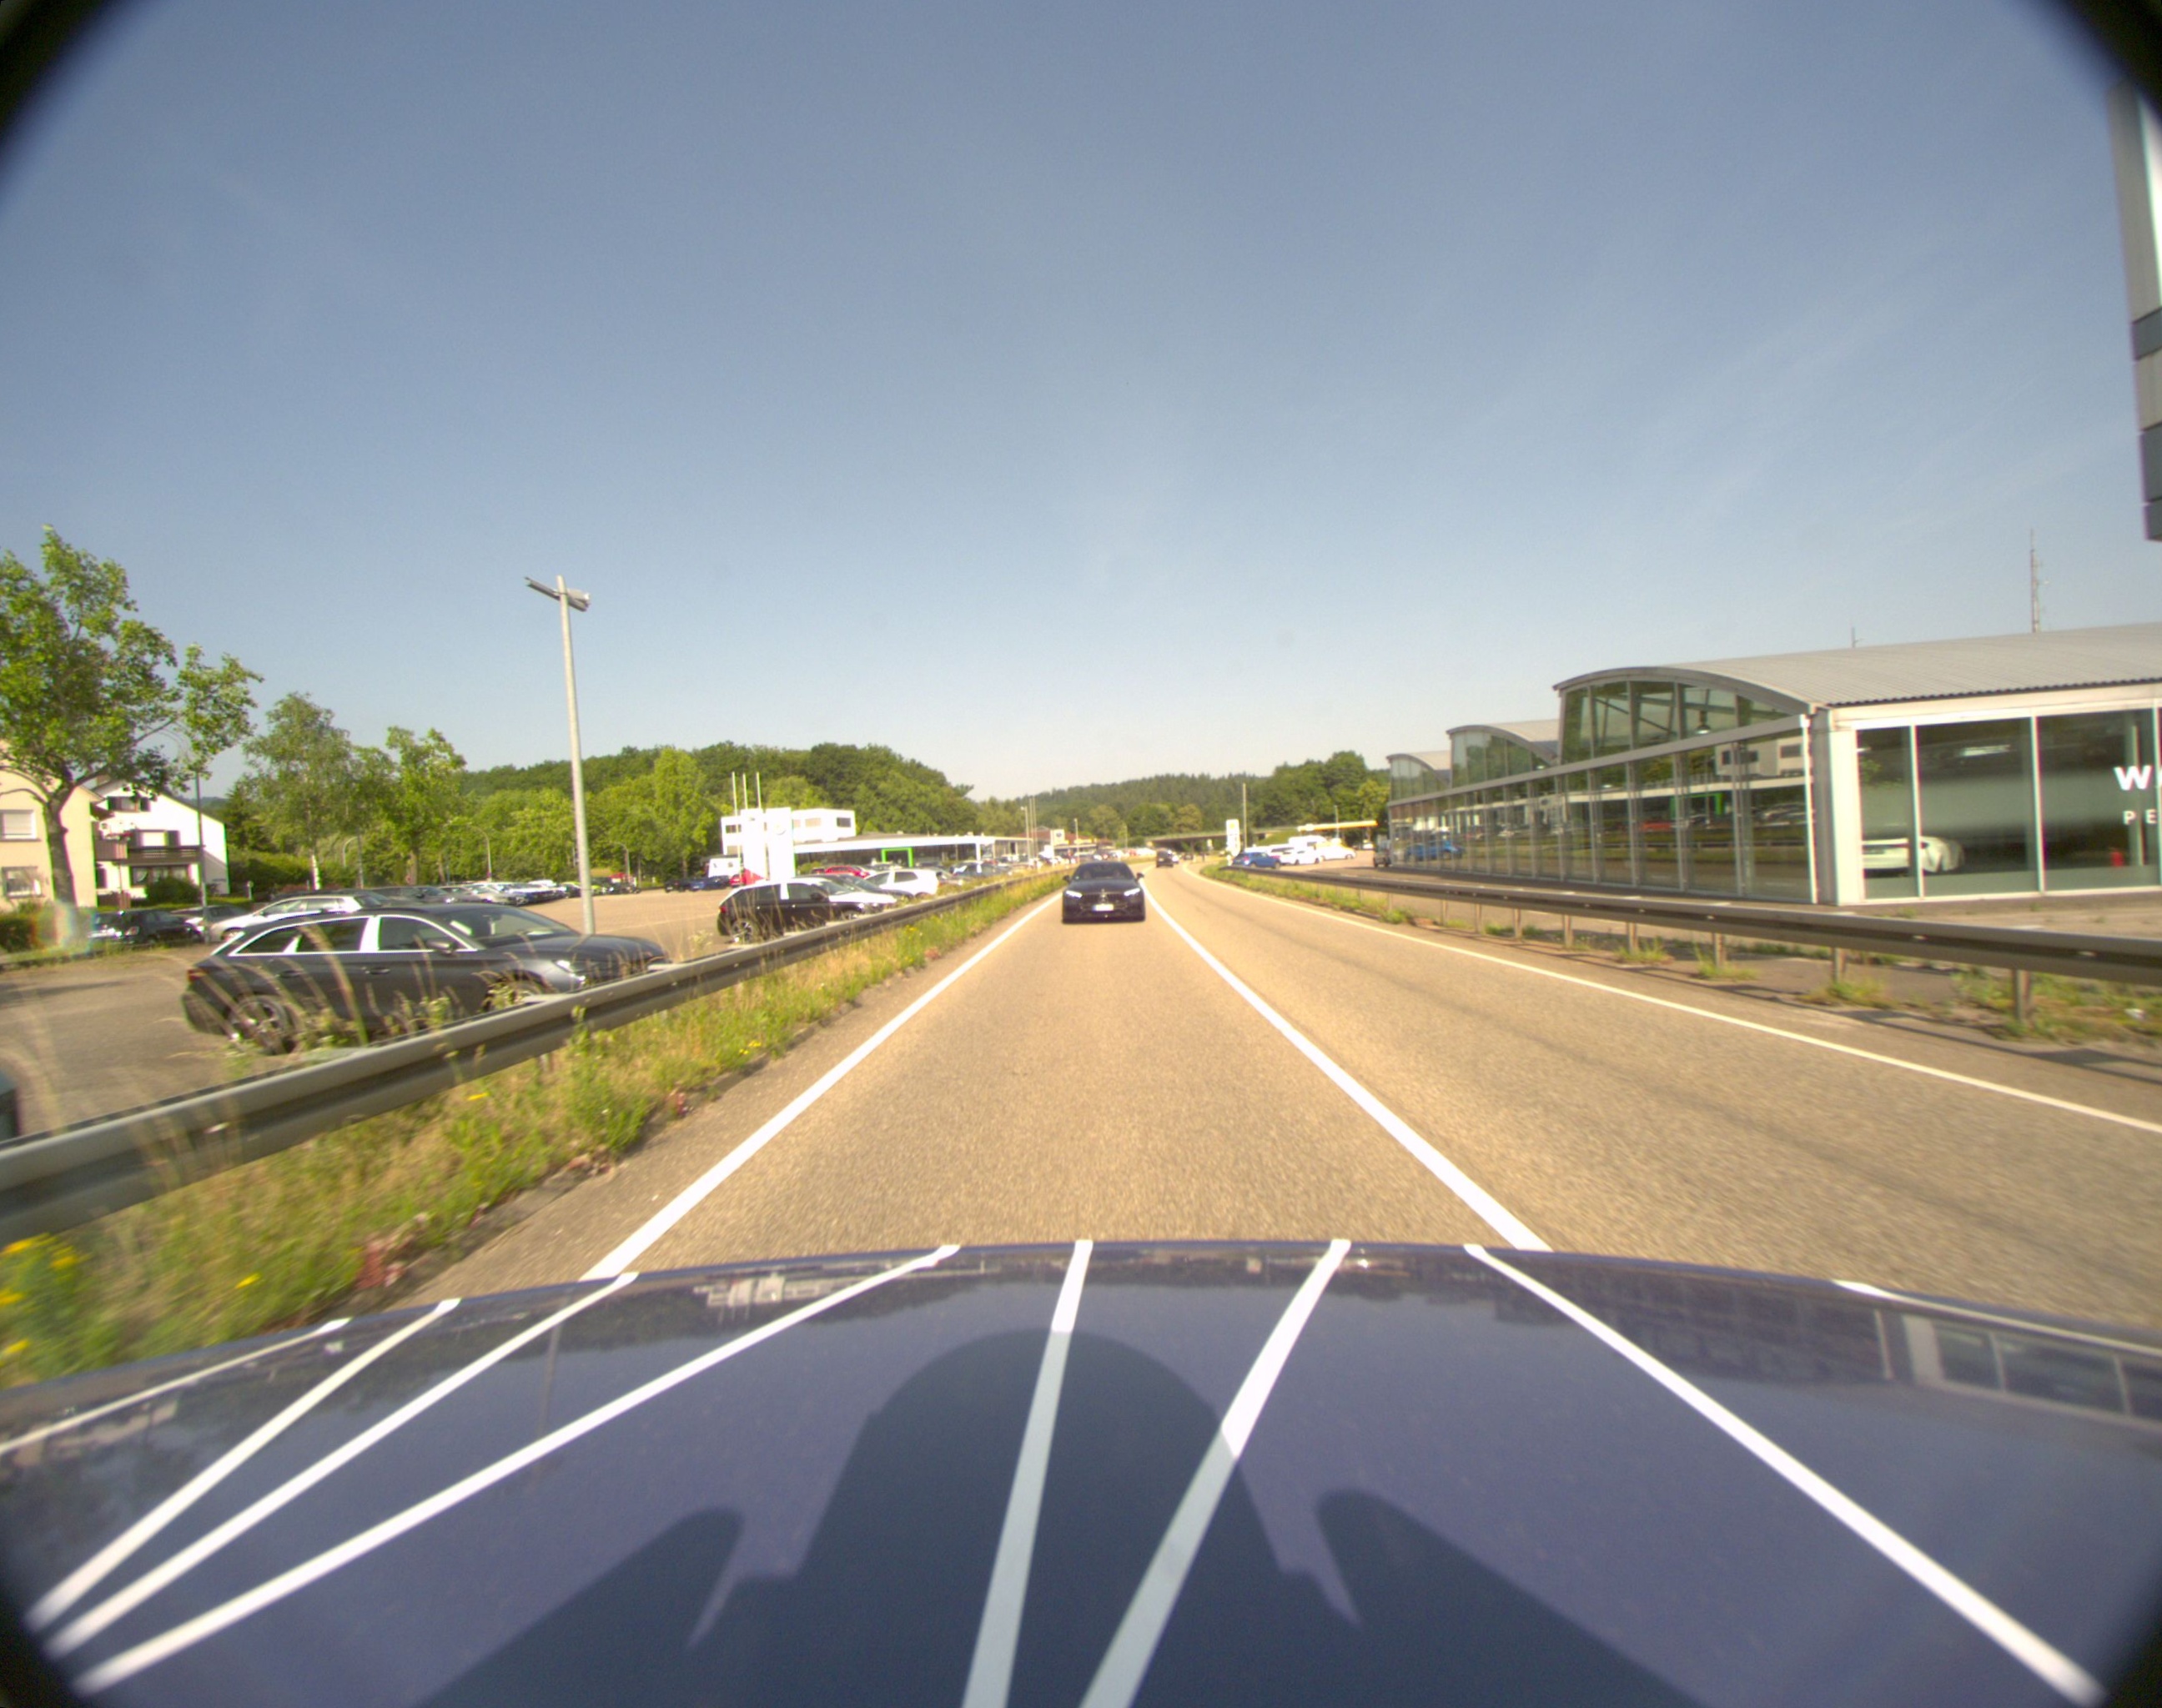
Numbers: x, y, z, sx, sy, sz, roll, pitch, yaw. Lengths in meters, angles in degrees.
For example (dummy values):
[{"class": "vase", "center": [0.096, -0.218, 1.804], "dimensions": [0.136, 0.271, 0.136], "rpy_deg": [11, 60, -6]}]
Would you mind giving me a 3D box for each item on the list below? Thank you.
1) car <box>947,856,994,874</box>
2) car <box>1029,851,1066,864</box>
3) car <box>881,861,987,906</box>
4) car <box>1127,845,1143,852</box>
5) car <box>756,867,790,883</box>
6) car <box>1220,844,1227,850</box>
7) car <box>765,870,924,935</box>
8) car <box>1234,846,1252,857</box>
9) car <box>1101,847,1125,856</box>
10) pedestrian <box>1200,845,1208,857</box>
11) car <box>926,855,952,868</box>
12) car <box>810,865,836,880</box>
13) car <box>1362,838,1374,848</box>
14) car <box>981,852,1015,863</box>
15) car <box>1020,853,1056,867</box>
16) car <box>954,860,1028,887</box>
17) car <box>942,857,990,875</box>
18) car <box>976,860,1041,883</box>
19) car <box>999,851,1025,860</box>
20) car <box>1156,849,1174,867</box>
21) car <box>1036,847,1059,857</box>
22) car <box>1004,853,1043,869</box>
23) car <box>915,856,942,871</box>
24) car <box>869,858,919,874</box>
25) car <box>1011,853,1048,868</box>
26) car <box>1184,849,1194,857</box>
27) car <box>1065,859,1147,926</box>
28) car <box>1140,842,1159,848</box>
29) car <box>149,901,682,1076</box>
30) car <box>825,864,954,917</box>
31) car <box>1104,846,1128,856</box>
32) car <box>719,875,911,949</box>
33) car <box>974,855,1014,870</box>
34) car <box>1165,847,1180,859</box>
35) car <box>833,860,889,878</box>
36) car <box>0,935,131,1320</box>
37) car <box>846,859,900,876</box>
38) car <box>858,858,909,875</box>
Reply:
[{"class": "car", "center": [-10.882, 1.091, 74.910], "dimensions": [4.100, 1.507, 1.825], "rpy_deg": [-2, 1, 7]}, {"class": "car", "center": [-4.372, 0.466, 98.864], "dimensions": [4.455, 1.591, 1.855], "rpy_deg": [-2, 1, 8]}, {"class": "car", "center": [-6.208, 1.237, 32.391], "dimensions": [3.996, 1.630, 1.888], "rpy_deg": [-2, 1, 4]}, {"class": "car", "center": [12.331, -1.259, 173.269], "dimensions": [3.543, 1.456, 1.806], "rpy_deg": [-1, 1, 14]}, {"class": "car", "center": [-34.272, 2.288, 84.684], "dimensions": [2.002, 1.537, 4.608], "rpy_deg": [-2, 1, -2]}, {"class": "car", "center": [40.085, -1.959, 214.145], "dimensions": [1.680, 1.464, 3.710], "rpy_deg": [-1, 1, 13]}, {"class": "car", "center": [-6.680, 1.360, 21.727], "dimensions": [3.855, 1.559, 1.807], "rpy_deg": [-2, 1, 4]}, {"class": "car", "center": [25.076, -0.364, 117.399], "dimensions": [1.813, 1.620, 4.550], "rpy_deg": [-1, -2, 23]}, {"class": "car", "center": [5.780, -0.445, 136.957], "dimensions": [4.045, 1.499, 1.808], "rpy_deg": [-1, 1, 15]}, {"class": "pedestrian", "center": [18.197, -0.472, 112.104], "dimensions": [0.848, 1.680, 1.145], "rpy_deg": [-2, 1, 26]}, {"class": "car", "center": [-18.763, 0.976, 100.573], "dimensions": [1.793, 1.556, 4.345], "rpy_deg": [-2, 1, -33]}, {"class": "car", "center": [-28.827, 2.049, 84.956], "dimensions": [2.004, 1.537, 4.605], "rpy_deg": [-2, 1, -10]}, {"class": "car", "center": [48.271, -1.851, 127.681], "dimensions": [1.717, 1.557, 4.664], "rpy_deg": [-3, 0, 20]}, {"class": "car", "center": [-12.218, 0.555, 112.146], "dimensions": [4.709, 1.556, 1.793], "rpy_deg": [-1, 1, 27]}, {"class": "car", "center": [-5.216, 0.701, 91.656], "dimensions": [3.994, 1.485, 1.731], "rpy_deg": [-2, 1, 11]}, {"class": "car", "center": [-5.493, 1.175, 46.506], "dimensions": [4.168, 1.536, 1.741], "rpy_deg": [-1, 1, 5]}, {"class": "car", "center": [-10.914, 1.122, 72.127], "dimensions": [4.165, 1.507, 1.825], "rpy_deg": [-2, 1, 4]}, {"class": "car", "center": [-4.959, 1.197, 52.365], "dimensions": [4.168, 1.482, 1.732], "rpy_deg": [-1, 1, 5]}, {"class": "car", "center": [-12.167, 0.332, 134.066], "dimensions": [4.317, 1.456, 1.792], "rpy_deg": [-2, 1, 10]}, {"class": "car", "center": [9.535, 0.454, 86.457], "dimensions": [1.918, 1.874, 4.913], "rpy_deg": [-1, 1, 7]}, {"class": "car", "center": [-6.865, -0.421, 154.157], "dimensions": [4.317, 1.914, 1.792], "rpy_deg": [-1, 1, 12]}, {"class": "car", "center": [-6.535, 0.773, 86.697], "dimensions": [4.085, 1.600, 1.793], "rpy_deg": [-2, 1, 6]}, {"class": "car", "center": [-17.828, 1.077, 88.643], "dimensions": [1.934, 1.556, 4.741], "rpy_deg": [-2, 1, -25]}, {"class": "car", "center": [-20.230, 1.254, 82.208], "dimensions": [4.745, 1.556, 1.933], "rpy_deg": [-2, 1, 9]}, {"class": "car", "center": [-6.075, 0.767, 89.254], "dimensions": [3.994, 1.485, 1.791], "rpy_deg": [-2, 1, 9]}, {"class": "car", "center": [21.003, -0.145, 147.297], "dimensions": [1.755, 1.466, 4.289], "rpy_deg": [-1, 1, 10]}, {"class": "car", "center": [0.738, 0.882, 18.974], "dimensions": [1.715, 1.382, 4.149], "rpy_deg": [-2, 0, 6]}, {"class": "car", "center": [16.986, -2.214, 188.932], "dimensions": [4.567, 1.456, 1.878], "rpy_deg": [-1, 1, 14]}, {"class": "car", "center": [-6.965, 1.381, 8.272], "dimensions": [4.330, 1.435, 1.628], "rpy_deg": [-2, 1, 1]}, {"class": "car", "center": [-6.624, 1.252, 26.568], "dimensions": [3.997, 1.571, 1.778], "rpy_deg": [-2, 1, -1]}, {"class": "car", "center": [6.447, -0.571, 140.041], "dimensions": [4.051, 1.608, 1.881], "rpy_deg": [-1, 1, 15]}, {"class": "car", "center": [-6.407, 1.387, 18.559], "dimensions": [3.996, 1.513, 1.698], "rpy_deg": [-2, 1, 4]}, {"class": "car", "center": [-9.512, 0.946, 83.093], "dimensions": [3.995, 1.477, 1.843], "rpy_deg": [-2, 1, 7]}, {"class": "car", "center": [13.290, -0.140, 110.423], "dimensions": [1.796, 1.620, 4.227], "rpy_deg": [-1, 1, 4]}, {"class": "car", "center": [-21.186, 1.460, 73.251], "dimensions": [4.745, 1.556, 1.933], "rpy_deg": [-2, 1, 9]}, {"class": "car", "center": [-6.937, 1.314, 2.787], "dimensions": [4.329, 1.630, 2.140], "rpy_deg": [-2, 1, 4]}, {"class": "car", "center": [-20.795, 1.339, 76.096], "dimensions": [4.745, 1.556, 1.933], "rpy_deg": [-2, 1, 9]}, {"class": "car", "center": [-20.545, 1.293, 79.235], "dimensions": [4.745, 1.556, 1.933], "rpy_deg": [-2, 1, 9]}]
